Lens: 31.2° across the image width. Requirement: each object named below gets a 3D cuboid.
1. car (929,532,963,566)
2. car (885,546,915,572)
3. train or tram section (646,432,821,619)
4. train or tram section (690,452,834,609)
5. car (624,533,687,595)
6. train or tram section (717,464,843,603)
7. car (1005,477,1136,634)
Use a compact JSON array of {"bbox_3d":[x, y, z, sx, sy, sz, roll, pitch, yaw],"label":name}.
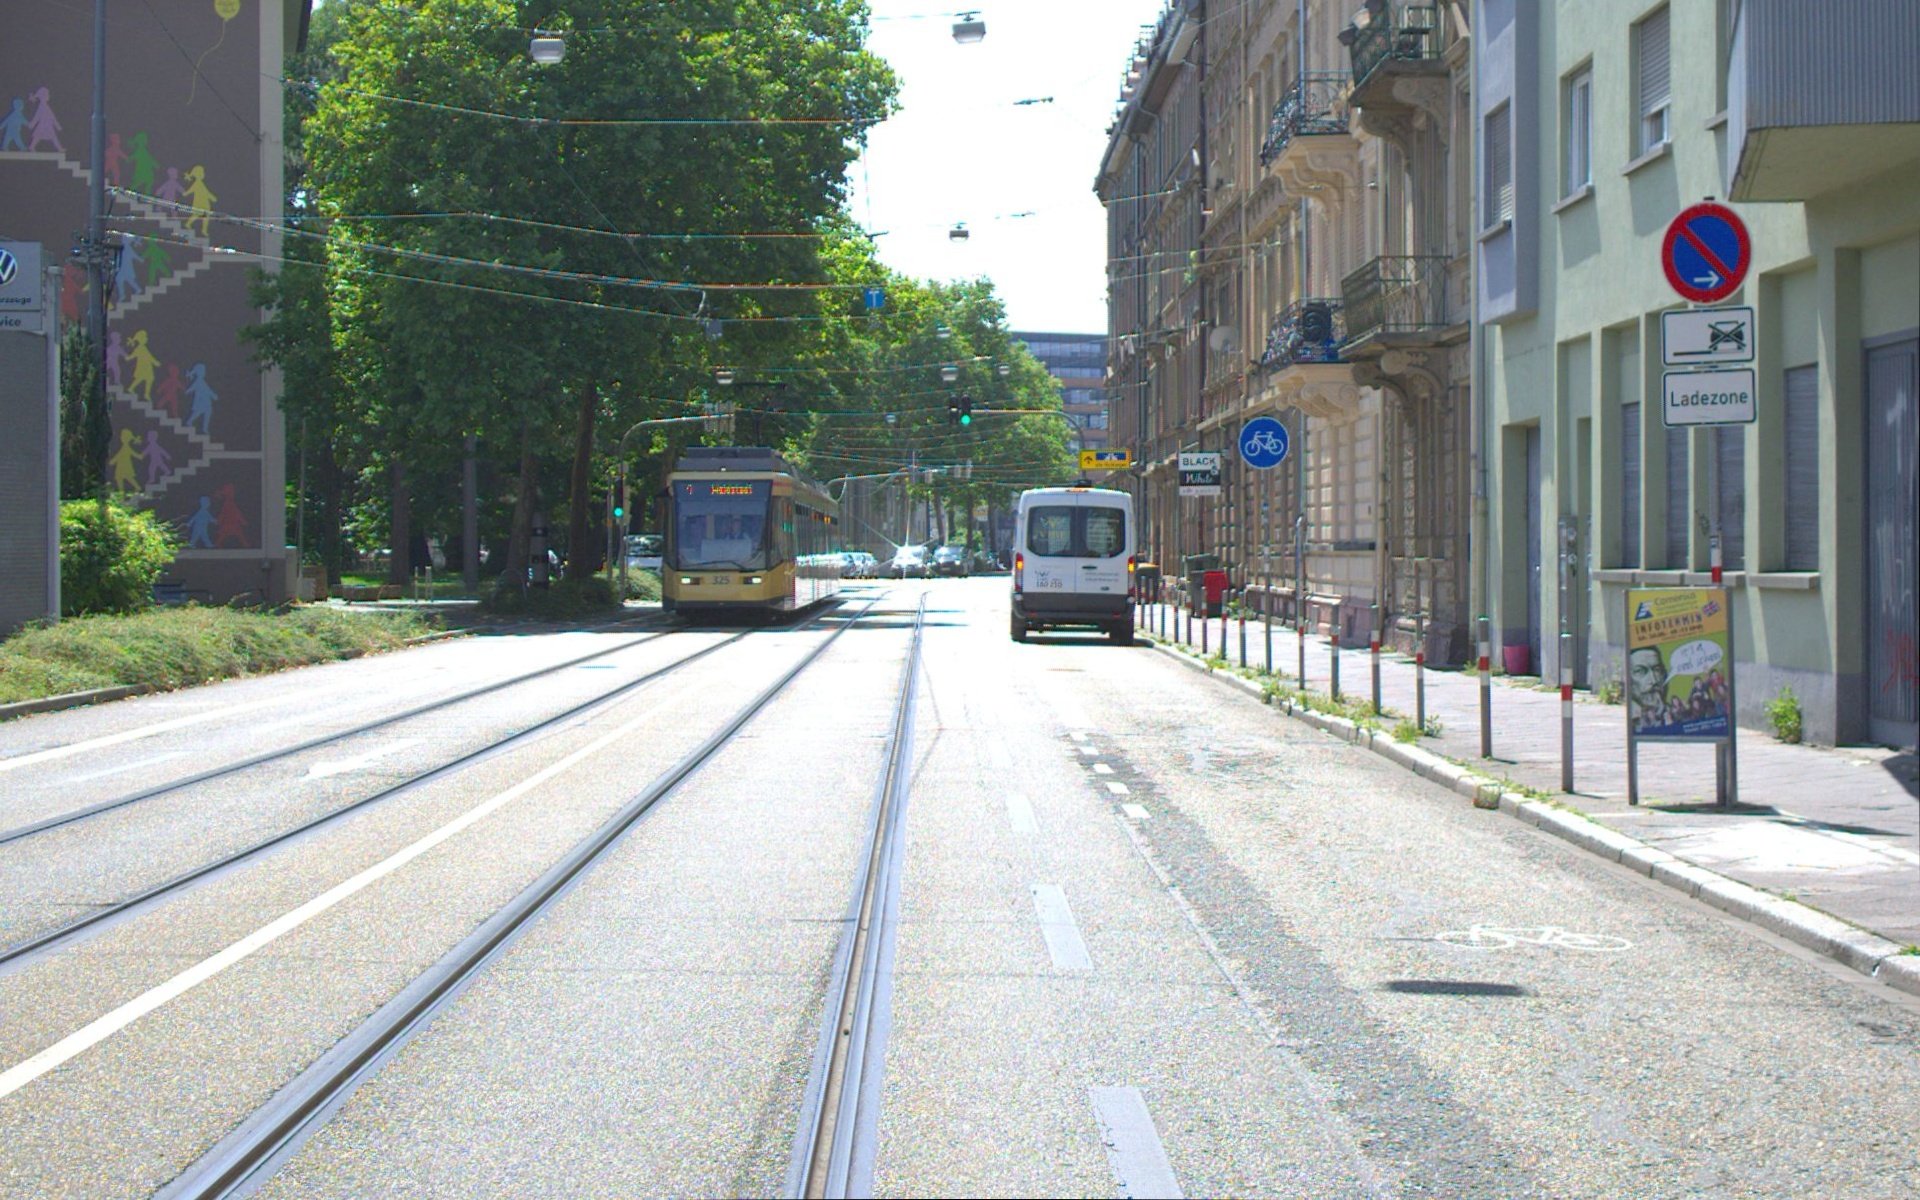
[{"bbox_3d":[-0.809,-2.812,190.510,1.673,1.853,4.001,0,1,-3],"label":"car"},{"bbox_3d":[-3.213,-2.196,183.334,1.528,1.404,3.490,0,1,-2],"label":"car"},{"bbox_3d":[-4.607,-1.530,72.496,2.960,3.568,13.424,0,1,-1],"label":"train or tram section"},{"bbox_3d":[-4.769,-1.703,85.392,2.960,3.568,13.424,0,1,-1],"label":"train or tram section"},{"bbox_3d":[-9.579,-1.151,108.288,1.800,1.916,4.001,0,1,-2],"label":"car"},{"bbox_3d":[-4.892,-1.838,95.637,2.960,3.568,13.424,0,1,-1],"label":"train or tram section"},{"bbox_3d":[1.816,-0.763,58.172,2.067,2.492,5.454,1,1,1],"label":"car"}]
